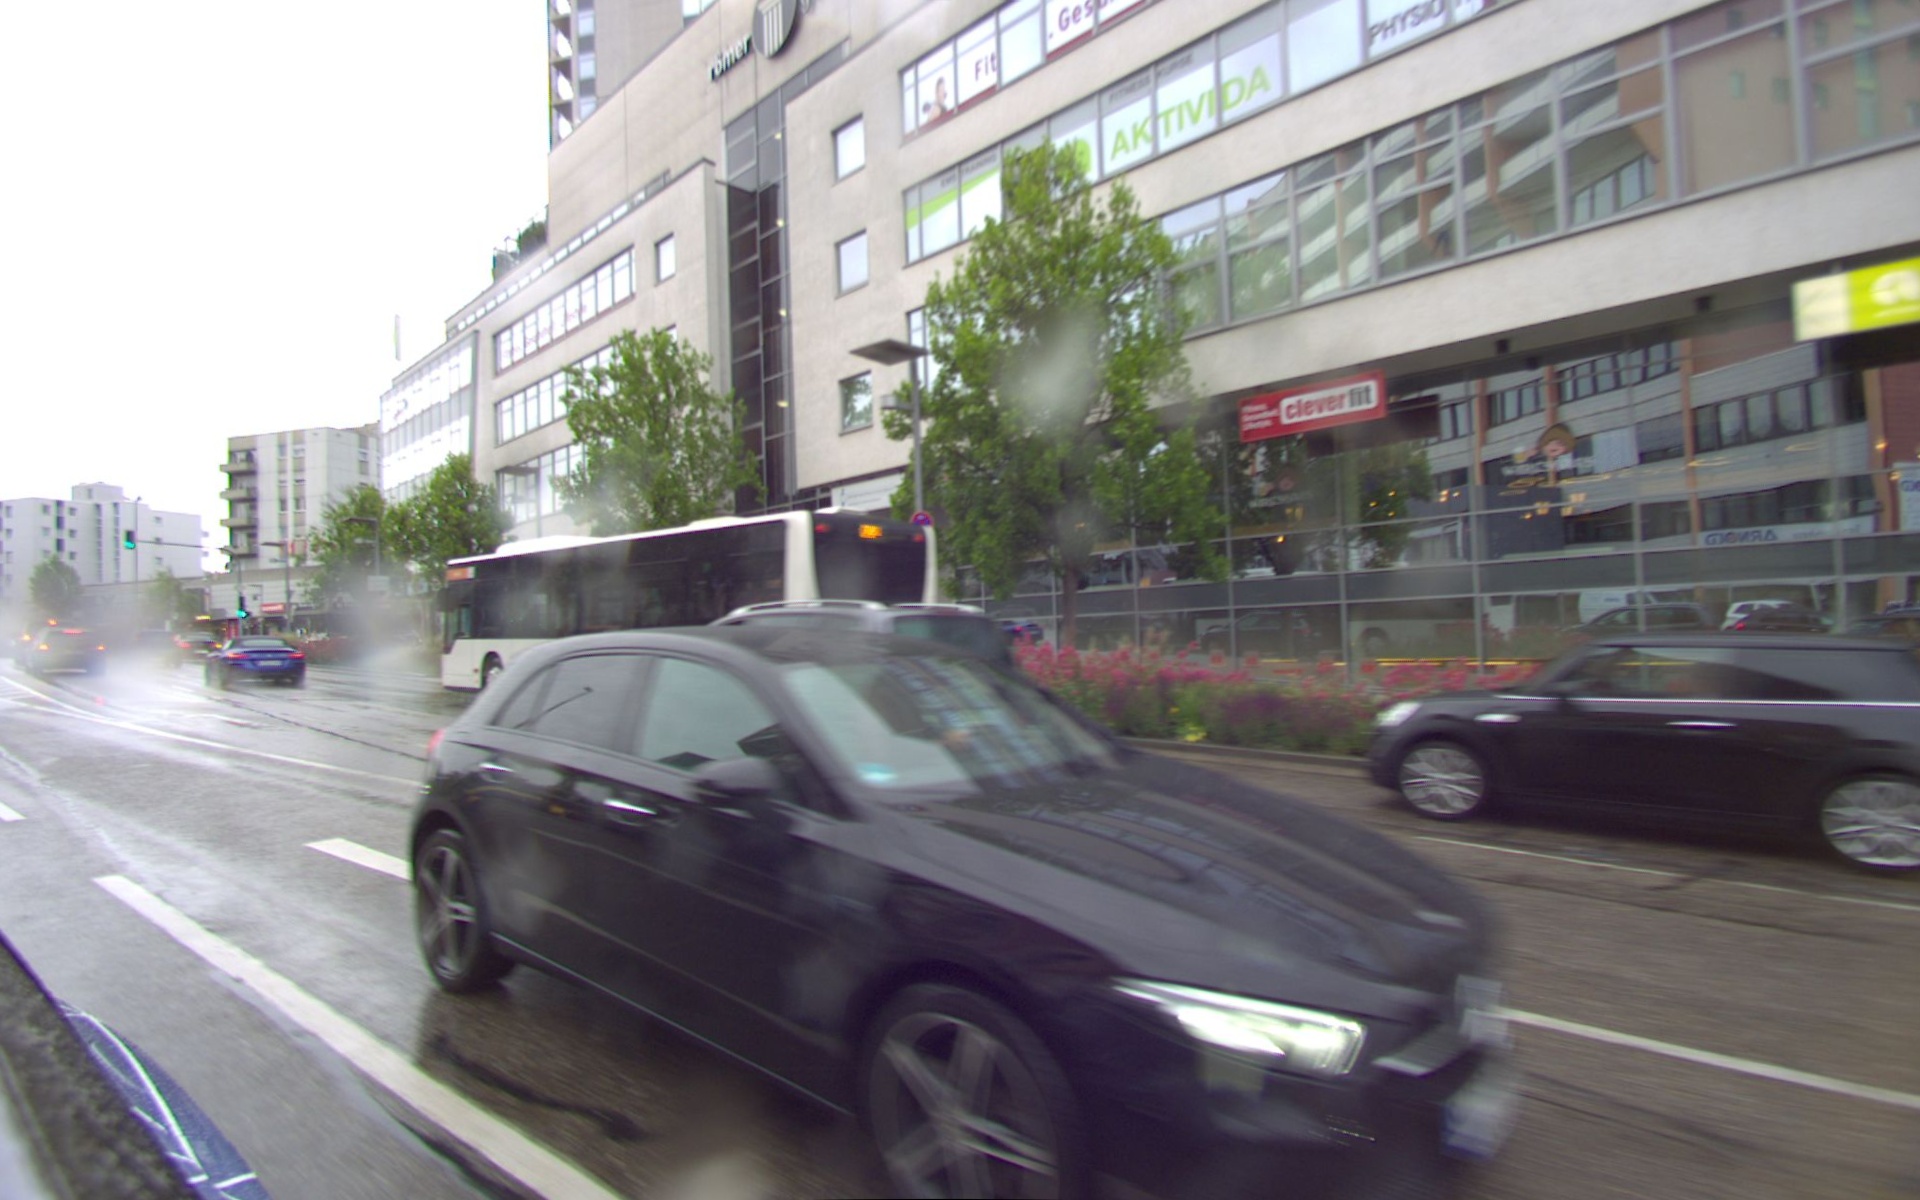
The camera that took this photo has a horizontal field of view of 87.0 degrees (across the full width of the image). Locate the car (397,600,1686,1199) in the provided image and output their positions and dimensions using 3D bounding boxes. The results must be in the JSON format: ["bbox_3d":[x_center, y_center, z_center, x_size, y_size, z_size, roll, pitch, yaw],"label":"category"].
[{"bbox_3d":[-0.196,0.773,3.449,4.196,1.461,1.697,-1,-2,41],"label":"car"}]

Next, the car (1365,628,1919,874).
[{"bbox_3d":[4.980,0.880,7.147,3.602,1.348,1.622,-1,-2,44],"label":"car"}]

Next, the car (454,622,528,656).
[{"bbox_3d":[-20.249,1.646,43.653,1.733,1.421,3.733,1,-2,-44],"label":"car"}]

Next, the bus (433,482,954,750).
[{"bbox_3d":[-5.327,0.294,17.068,2.859,3.123,12.005,1,-2,-45],"label":"bus"}]

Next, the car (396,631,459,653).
[{"bbox_3d":[-42.051,3.300,80.025,1.677,1.639,4.158,-1,-2,28],"label":"car"}]

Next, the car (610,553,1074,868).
[{"bbox_3d":[-1.219,0.752,8.620,4.286,2.029,1.615,-1,-2,45],"label":"car"}]

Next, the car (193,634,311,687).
[{"bbox_3d":[-19.331,1.593,27.579,4.195,1.266,1.875,-1,-2,44],"label":"car"}]

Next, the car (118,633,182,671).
[{"bbox_3d":[-31.292,1.964,39.091,3.283,1.386,1.547,-1,-2,45],"label":"car"}]

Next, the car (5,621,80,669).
[{"bbox_3d":[-36.757,1.773,40.500,4.000,1.804,1.842,-1,-3,43],"label":"car"}]

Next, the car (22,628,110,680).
[{"bbox_3d":[-28.450,1.665,32.150,4.392,1.528,1.688,-1,-2,43],"label":"car"}]
